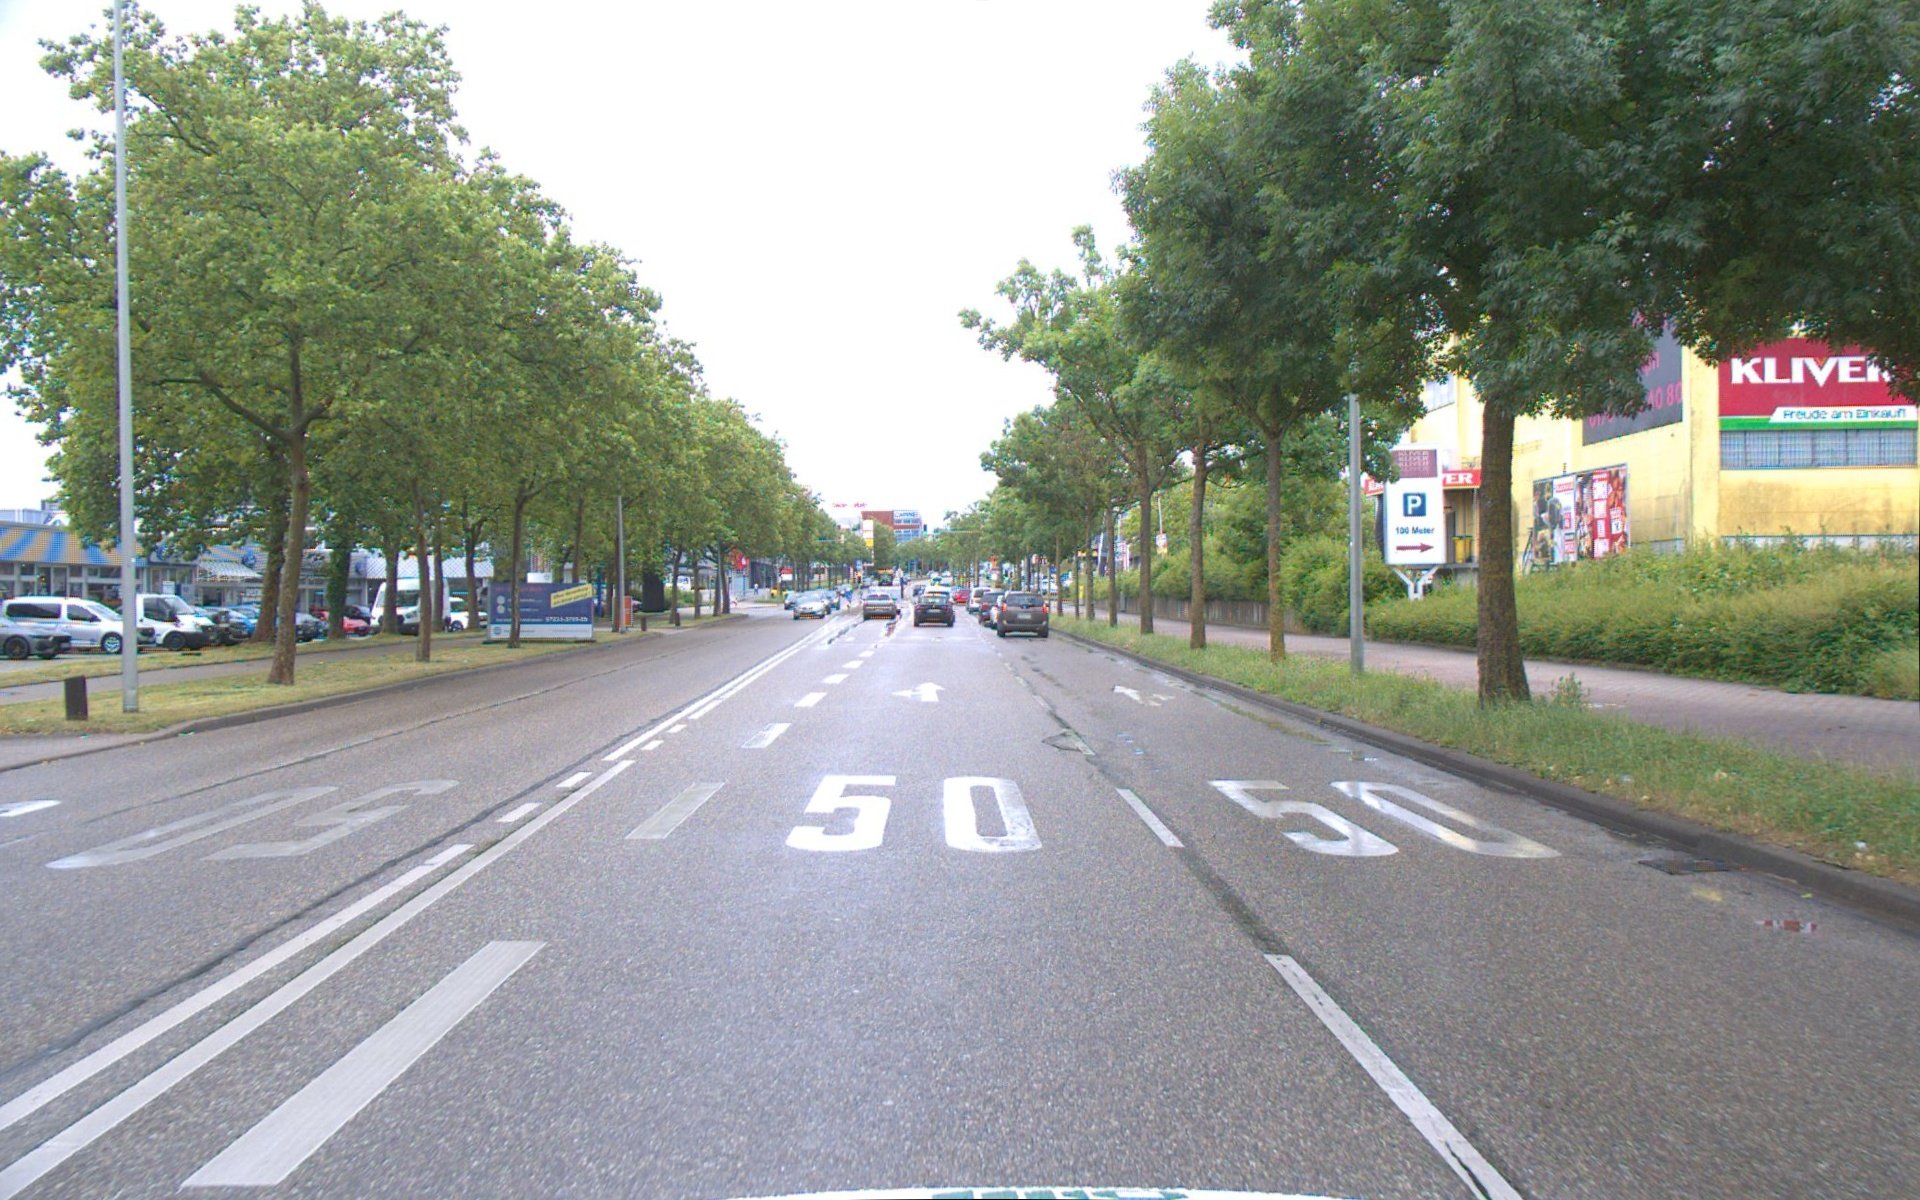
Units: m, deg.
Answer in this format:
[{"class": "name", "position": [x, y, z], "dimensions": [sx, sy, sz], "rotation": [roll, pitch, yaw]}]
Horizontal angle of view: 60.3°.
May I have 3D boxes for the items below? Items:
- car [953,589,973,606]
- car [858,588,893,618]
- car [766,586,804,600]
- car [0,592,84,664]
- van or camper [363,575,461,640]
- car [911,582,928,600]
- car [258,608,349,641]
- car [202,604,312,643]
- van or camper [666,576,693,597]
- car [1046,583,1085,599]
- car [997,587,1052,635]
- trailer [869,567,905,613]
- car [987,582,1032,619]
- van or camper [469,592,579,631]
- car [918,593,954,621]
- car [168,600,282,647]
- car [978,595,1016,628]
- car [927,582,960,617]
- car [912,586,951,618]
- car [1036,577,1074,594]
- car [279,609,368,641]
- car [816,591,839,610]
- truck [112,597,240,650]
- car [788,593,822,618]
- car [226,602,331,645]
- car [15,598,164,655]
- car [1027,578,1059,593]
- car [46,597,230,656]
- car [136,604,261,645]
[{"class": "car", "position": [0.266, -0.269, 147.759], "dimensions": [1.661, 1.468, 3.988], "rotation": [-1, 0, -1]}, {"class": "car", "position": [-4.895, 0.155, 96.384], "dimensions": [1.868, 1.606, 4.879], "rotation": [-2, 0, -1]}, {"class": "car", "position": [-20.111, -0.810, 190.110], "dimensions": [3.916, 1.579, 1.895], "rotation": [-1, 1, 33]}, {"class": "car", "position": [-28.431, 0.830, 48.965], "dimensions": [3.908, 2.049, 1.881], "rotation": [-1, 0, -4]}, {"class": "van or camper", "position": [-22.441, 0.268, 68.035], "dimensions": [1.953, 2.513, 6.400], "rotation": [0, 0, -1]}, {"class": "car", "position": [-4.843, -1.065, 198.569], "dimensions": [1.953, 2.049, 3.999], "rotation": [1, 0, -1]}, {"class": "car", "position": [-31.636, 1.165, 79.714], "dimensions": [3.811, 1.493, 1.601], "rotation": [-1, 0, 11]}, {"class": "car", "position": [-29.723, 0.989, 69.975], "dimensions": [3.902, 1.547, 1.867], "rotation": [-1, 0, 13]}, {"class": "van or camper", "position": [-28.517, -1.372, 168.268], "dimensions": [1.953, 2.001, 4.786], "rotation": [1, 0, -2]}, {"class": "car", "position": [10.999, -0.929, 171.661], "dimensions": [1.896, 1.604, 4.266], "rotation": [-1, 1, 40]}, {"class": "car", "position": [2.283, 0.369, 59.736], "dimensions": [1.691, 1.652, 4.470], "rotation": [-1, 0, -1]}, {"class": "trailer", "position": [-4.921, -0.684, 111.460], "dimensions": [2.325, 2.947, 5.543], "rotation": [-1, 0, -3]}, {"class": "car", "position": [2.173, 0.019, 73.030], "dimensions": [1.764, 1.571, 4.619], "rotation": [1, 0, -1]}, {"class": "van or camper", "position": [-22.778, 0.581, 86.397], "dimensions": [5.220, 1.853, 2.247], "rotation": [-1, 0, -27]}, {"class": "car", "position": [-1.305, 0.339, 88.680], "dimensions": [1.649, 1.401, 3.996], "rotation": [-1, 1, -5]}, {"class": "car", "position": [-29.921, 0.956, 67.360], "dimensions": [3.902, 1.797, 1.867], "rotation": [-1, 0, 14]}, {"class": "car", "position": [1.869, 0.573, 85.275], "dimensions": [1.764, 1.614, 4.450], "rotation": [1, 1, -1]}, {"class": "car", "position": [-1.064, -0.013, 102.063], "dimensions": [1.953, 2.049, 3.999], "rotation": [1, 0, -1]}, {"class": "car", "position": [-1.323, 0.069, 76.703], "dimensions": [1.746, 1.422, 3.999], "rotation": [0, 0, -2]}, {"class": "car", "position": [10.592, -1.622, 184.140], "dimensions": [3.992, 1.691, 1.953], "rotation": [-4, 2, -41]}, {"class": "car", "position": [-31.814, 1.243, 82.705], "dimensions": [3.901, 1.493, 1.601], "rotation": [-1, 0, 11]}, {"class": "car", "position": [-10.746, 0.043, 134.173], "dimensions": [1.635, 1.487, 4.174], "rotation": [-2, 0, -7]}, {"class": "truck", "position": [-29.351, 0.855, 62.033], "dimensions": [3.915, 1.870, 1.995], "rotation": [-1, 0, -11]}, {"class": "car", "position": [-9.477, 0.310, 100.989], "dimensions": [1.955, 1.454, 4.679], "rotation": [-2, 0, -6]}, {"class": "car", "position": [-29.895, 1.022, 72.544], "dimensions": [3.902, 1.797, 1.866], "rotation": [-1, 0, 15]}, {"class": "car", "position": [-28.926, 0.866, 55.060], "dimensions": [3.908, 1.797, 1.881], "rotation": [-1, 0, -4]}, {"class": "car", "position": [9.584, -1.663, 189.859], "dimensions": [3.567, 1.562, 1.619], "rotation": [-2, 1, -41]}, {"class": "car", "position": [-29.100, 0.900, 58.691], "dimensions": [5.270, 1.936, 2.414], "rotation": [-1, 0, -5]}, {"class": "car", "position": [-29.830, 0.956, 64.871], "dimensions": [3.904, 1.486, 2.034], "rotation": [-1, 0, 2]}]
